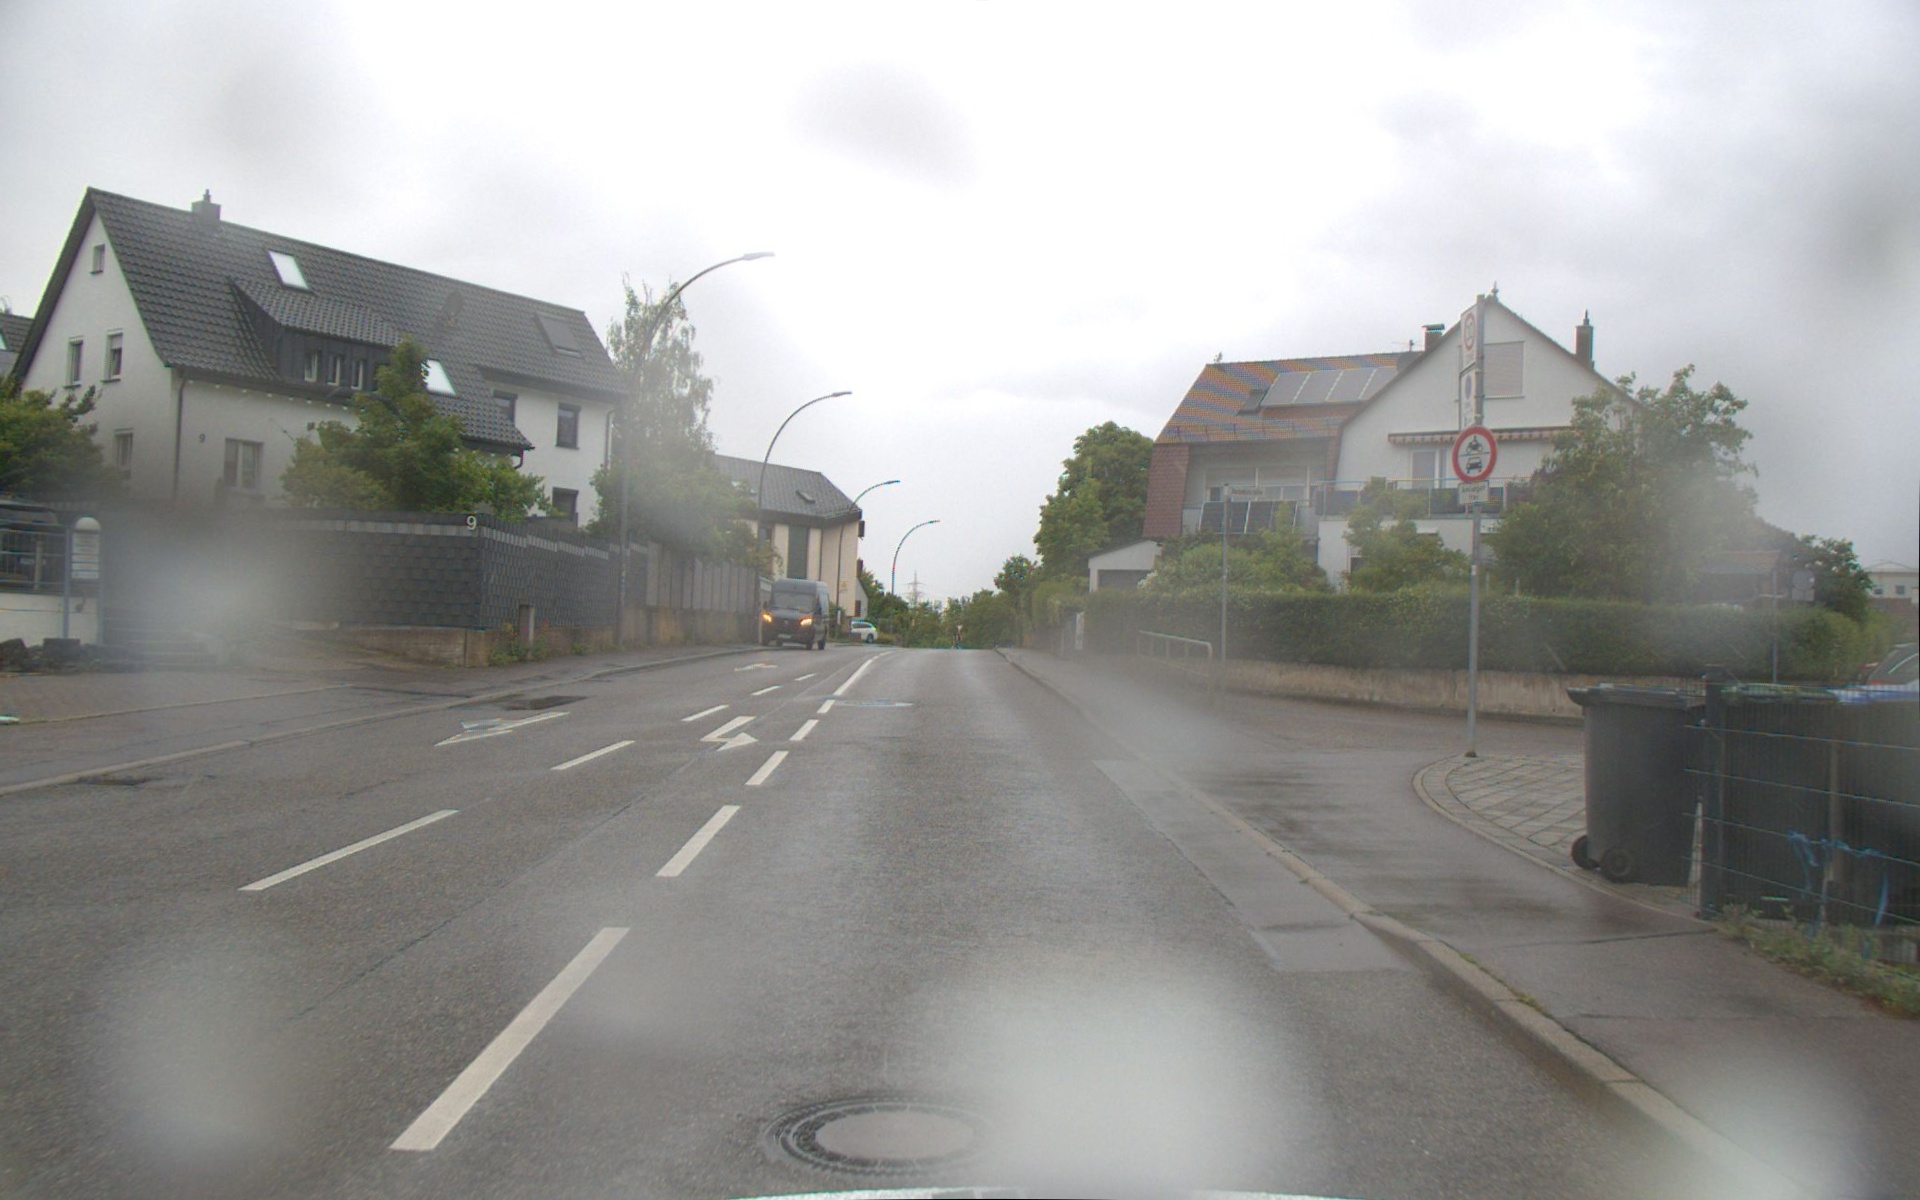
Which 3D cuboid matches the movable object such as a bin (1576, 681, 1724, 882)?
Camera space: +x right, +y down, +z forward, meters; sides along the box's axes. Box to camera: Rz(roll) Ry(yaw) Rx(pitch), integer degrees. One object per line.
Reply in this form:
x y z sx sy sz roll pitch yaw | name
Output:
3.779 0.978 9.085 0.614 1.039 0.541 0 0 4 | movable object such as a bin

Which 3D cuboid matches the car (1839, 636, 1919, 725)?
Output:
23.590 2.005 42.225 1.955 2.049 3.994 1 0 28 | car

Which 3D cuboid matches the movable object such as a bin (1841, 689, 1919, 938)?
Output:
4.238 0.937 7.379 0.433 1.039 0.525 0 0 15 | movable object such as a bin

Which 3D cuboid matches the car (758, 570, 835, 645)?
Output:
-6.330 0.329 64.793 2.051 2.695 5.919 3 -1 2 | car

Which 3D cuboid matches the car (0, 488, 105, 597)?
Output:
-18.979 -1.246 32.590 3.920 1.811 1.994 8 2 33 | car

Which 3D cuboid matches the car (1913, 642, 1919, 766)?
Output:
13.603 1.358 19.587 3.916 1.490 1.867 2 -3 33 | car

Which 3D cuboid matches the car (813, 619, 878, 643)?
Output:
-8.095 2.228 116.926 1.869 1.503 4.863 2 -1 36 | car

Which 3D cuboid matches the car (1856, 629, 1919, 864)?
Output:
8.131 0.964 9.960 4.461 1.408 2.001 2 0 17 | car

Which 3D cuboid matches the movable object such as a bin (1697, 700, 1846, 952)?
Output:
3.727 1.011 7.638 0.518 1.039 0.733 0 0 18 | movable object such as a bin
